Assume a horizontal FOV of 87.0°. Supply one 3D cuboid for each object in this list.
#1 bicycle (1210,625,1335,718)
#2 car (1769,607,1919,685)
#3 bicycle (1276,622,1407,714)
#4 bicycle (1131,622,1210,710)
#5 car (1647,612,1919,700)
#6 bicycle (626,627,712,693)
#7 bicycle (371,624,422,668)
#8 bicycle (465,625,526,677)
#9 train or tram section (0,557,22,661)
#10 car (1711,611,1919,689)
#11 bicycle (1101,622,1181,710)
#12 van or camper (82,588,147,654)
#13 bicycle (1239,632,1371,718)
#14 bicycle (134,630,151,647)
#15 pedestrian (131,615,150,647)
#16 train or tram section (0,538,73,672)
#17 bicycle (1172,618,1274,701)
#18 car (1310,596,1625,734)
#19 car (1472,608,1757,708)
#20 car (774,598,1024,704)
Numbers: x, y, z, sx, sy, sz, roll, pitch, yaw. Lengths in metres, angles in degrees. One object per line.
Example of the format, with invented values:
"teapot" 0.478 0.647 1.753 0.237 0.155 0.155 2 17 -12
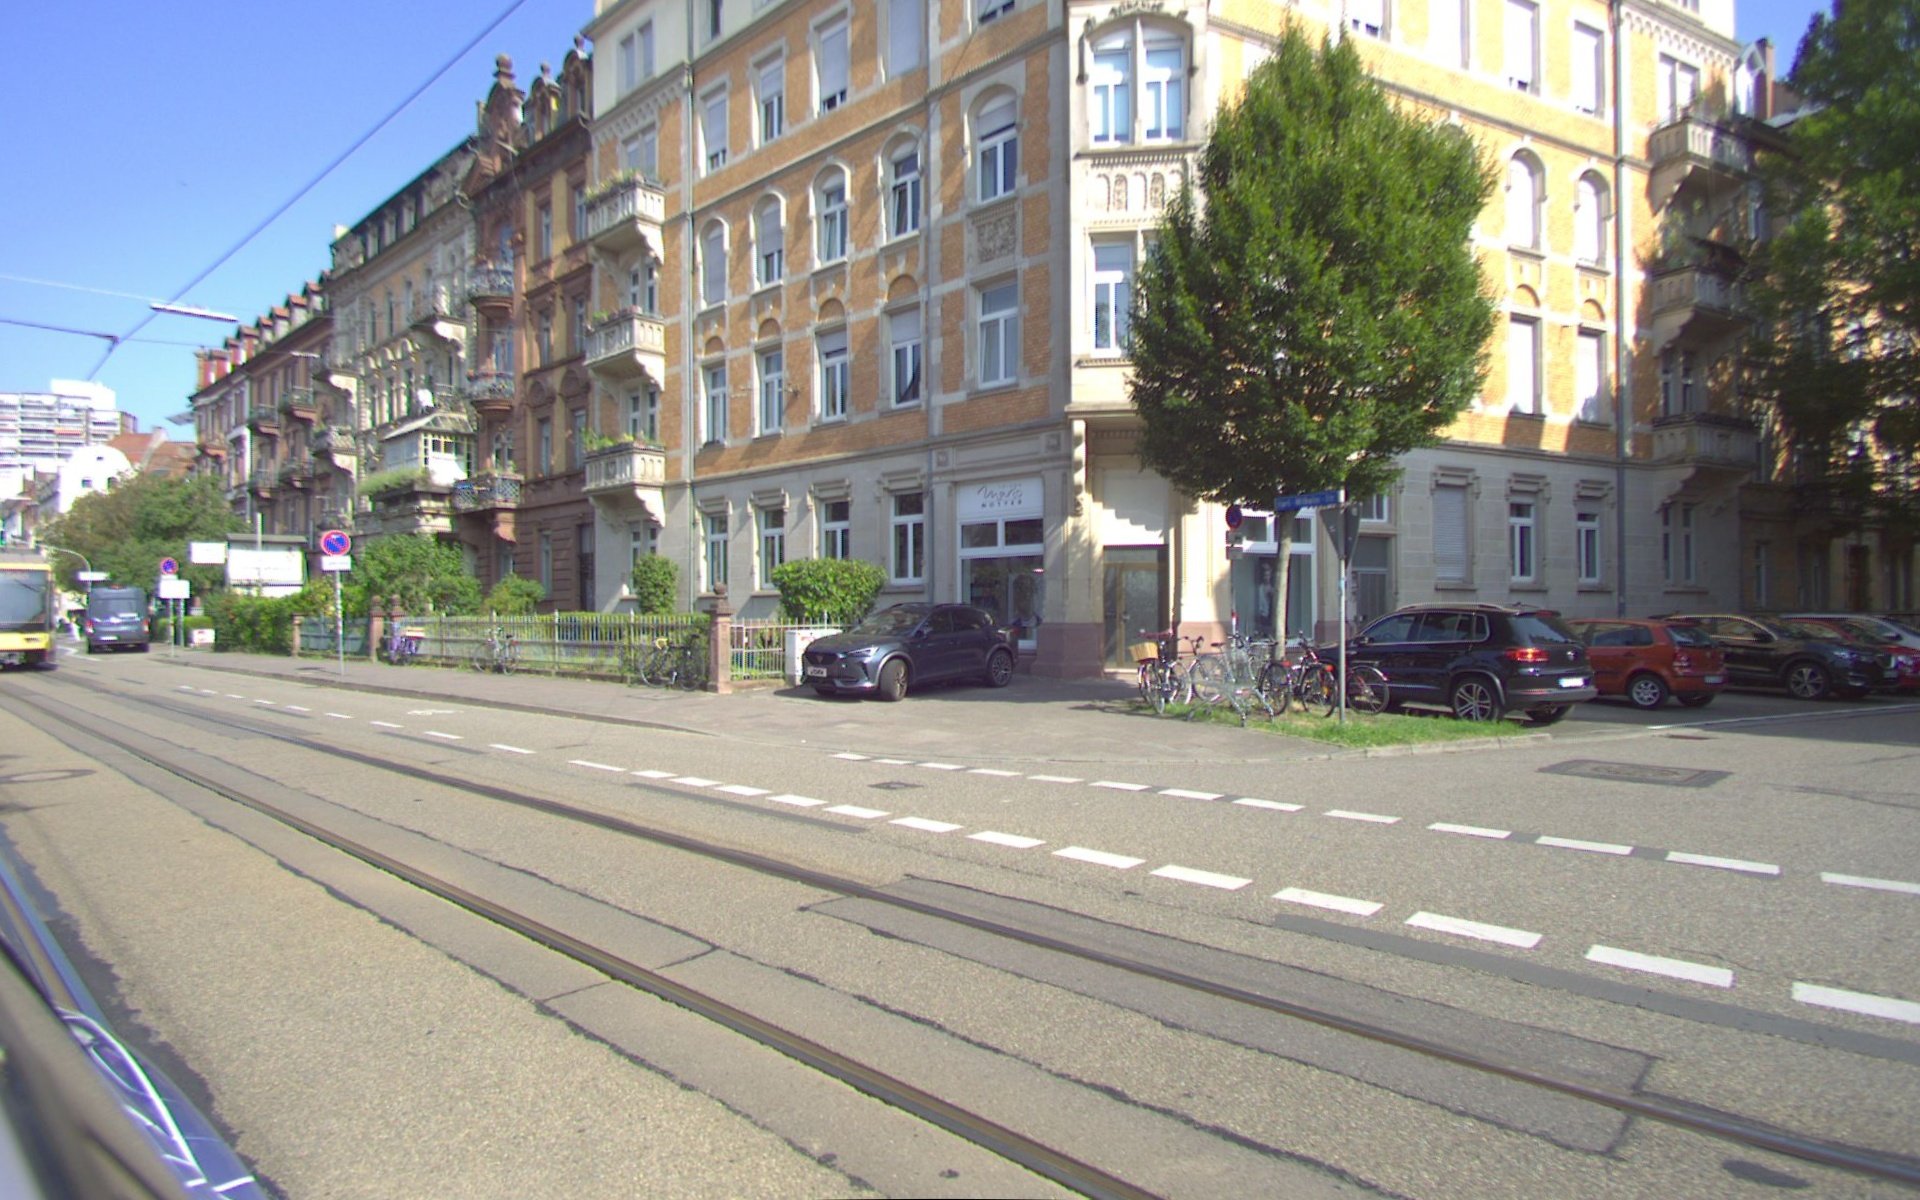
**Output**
"bicycle" 4.206 0.928 13.755 0.475 1.168 1.779 1 -1 -29
"car" 20.180 0.960 21.798 1.737 1.618 3.903 0 -1 -28
"bicycle" 5.457 0.944 14.583 0.534 1.239 1.778 1 -1 -35
"bicycle" 3.061 0.909 14.610 0.541 1.190 1.843 -1 -1 31
"car" 15.722 0.978 19.323 1.737 1.466 3.958 0 -1 -28
"bicycle" -5.167 1.030 17.915 1.840 1.066 0.539 -1 3 44
"bicycle" -14.805 1.198 26.572 1.840 1.066 0.600 -1 3 44
"bicycle" -10.390 1.123 22.610 1.840 1.066 0.539 -1 3 44
"train or tram section" -37.257 0.413 37.418 10.771 3.532 2.706 -1 -1 42
"car" 18.102 0.974 20.887 1.738 1.466 3.779 0 -1 -30
"bicycle" 2.681 0.932 14.845 0.541 1.206 1.833 -1 -1 31
"van or camper" -36.610 0.897 43.760 2.025 2.664 6.098 1 -1 -41
"bicycle" 4.750 1.003 14.069 0.534 1.098 1.842 1 -1 -30
"bicycle" -44.849 2.114 55.520 0.520 0.934 1.703 0 -1 -45
"pedestrian" -44.557 1.679 55.035 0.631 1.691 0.632 -2 -1 30
"train or tram section" -29.209 0.231 30.243 10.771 3.532 2.706 -1 -1 42
"bicycle" 4.190 0.917 16.071 1.743 1.266 0.544 1 -2 -34
"car" 7.182 0.820 14.725 1.737 1.673 3.780 -2 1 -27
"car" 11.243 0.932 17.655 1.738 1.538 3.779 0 -1 -30
"car" -0.940 0.771 17.483 2.063 1.554 4.094 0 1 41
